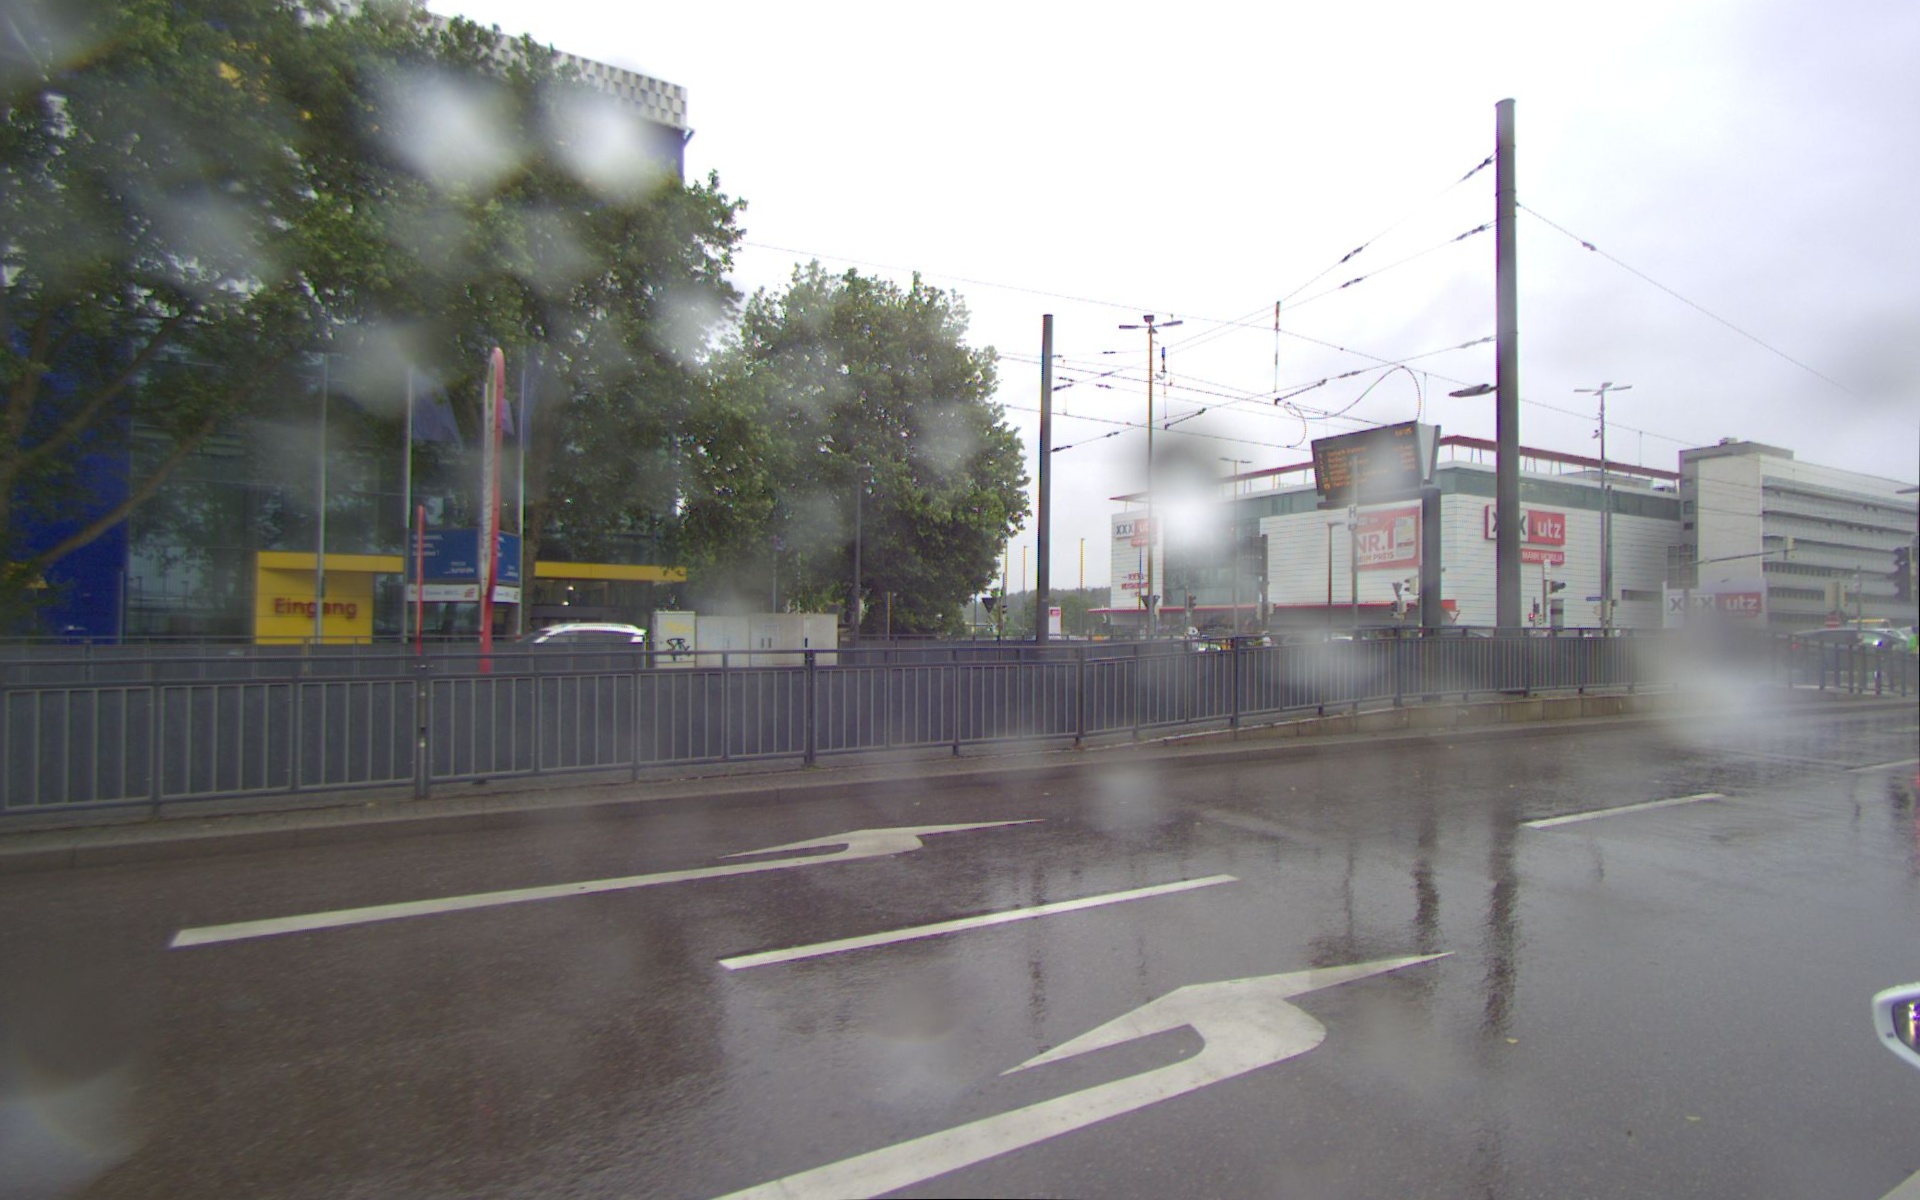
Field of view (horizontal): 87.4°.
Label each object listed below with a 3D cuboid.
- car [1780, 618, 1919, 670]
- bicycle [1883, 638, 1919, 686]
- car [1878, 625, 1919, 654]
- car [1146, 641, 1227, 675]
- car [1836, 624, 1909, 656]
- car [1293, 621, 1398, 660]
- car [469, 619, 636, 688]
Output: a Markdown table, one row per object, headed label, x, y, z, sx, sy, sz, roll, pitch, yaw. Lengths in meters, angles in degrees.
| label | x | y | z | sx | sy | sz | roll | pitch | yaw |
| --- | --- | --- | --- | --- | --- | --- | --- | --- | --- |
| car | 29.596 | 1.448 | 32.916 | 4.136 | 1.470 | 1.709 | 3 | 0 | 41 |
| bicycle | 24.204 | 1.569 | 24.990 | 1.724 | 1.153 | 0.520 | 2 | 0 | 18 |
| car | 52.332 | 2.185 | 55.178 | 3.765 | 1.445 | 1.702 | 3 | 0 | -30 |
| car | 12.700 | 3.248 | 56.518 | 1.697 | 1.521 | 4.466 | 3 | 0 | -34 |
| car | 47.355 | 2.081 | 52.121 | 3.765 | 1.445 | 1.702 | 3 | 0 | -30 |
| car | 17.971 | 1.862 | 46.976 | 1.807 | 1.521 | 4.223 | 3 | 0 | -40 |
| car | -9.737 | 1.257 | 24.077 | 3.398 | 1.483 | 1.568 | 2 | 0 | -37 |
